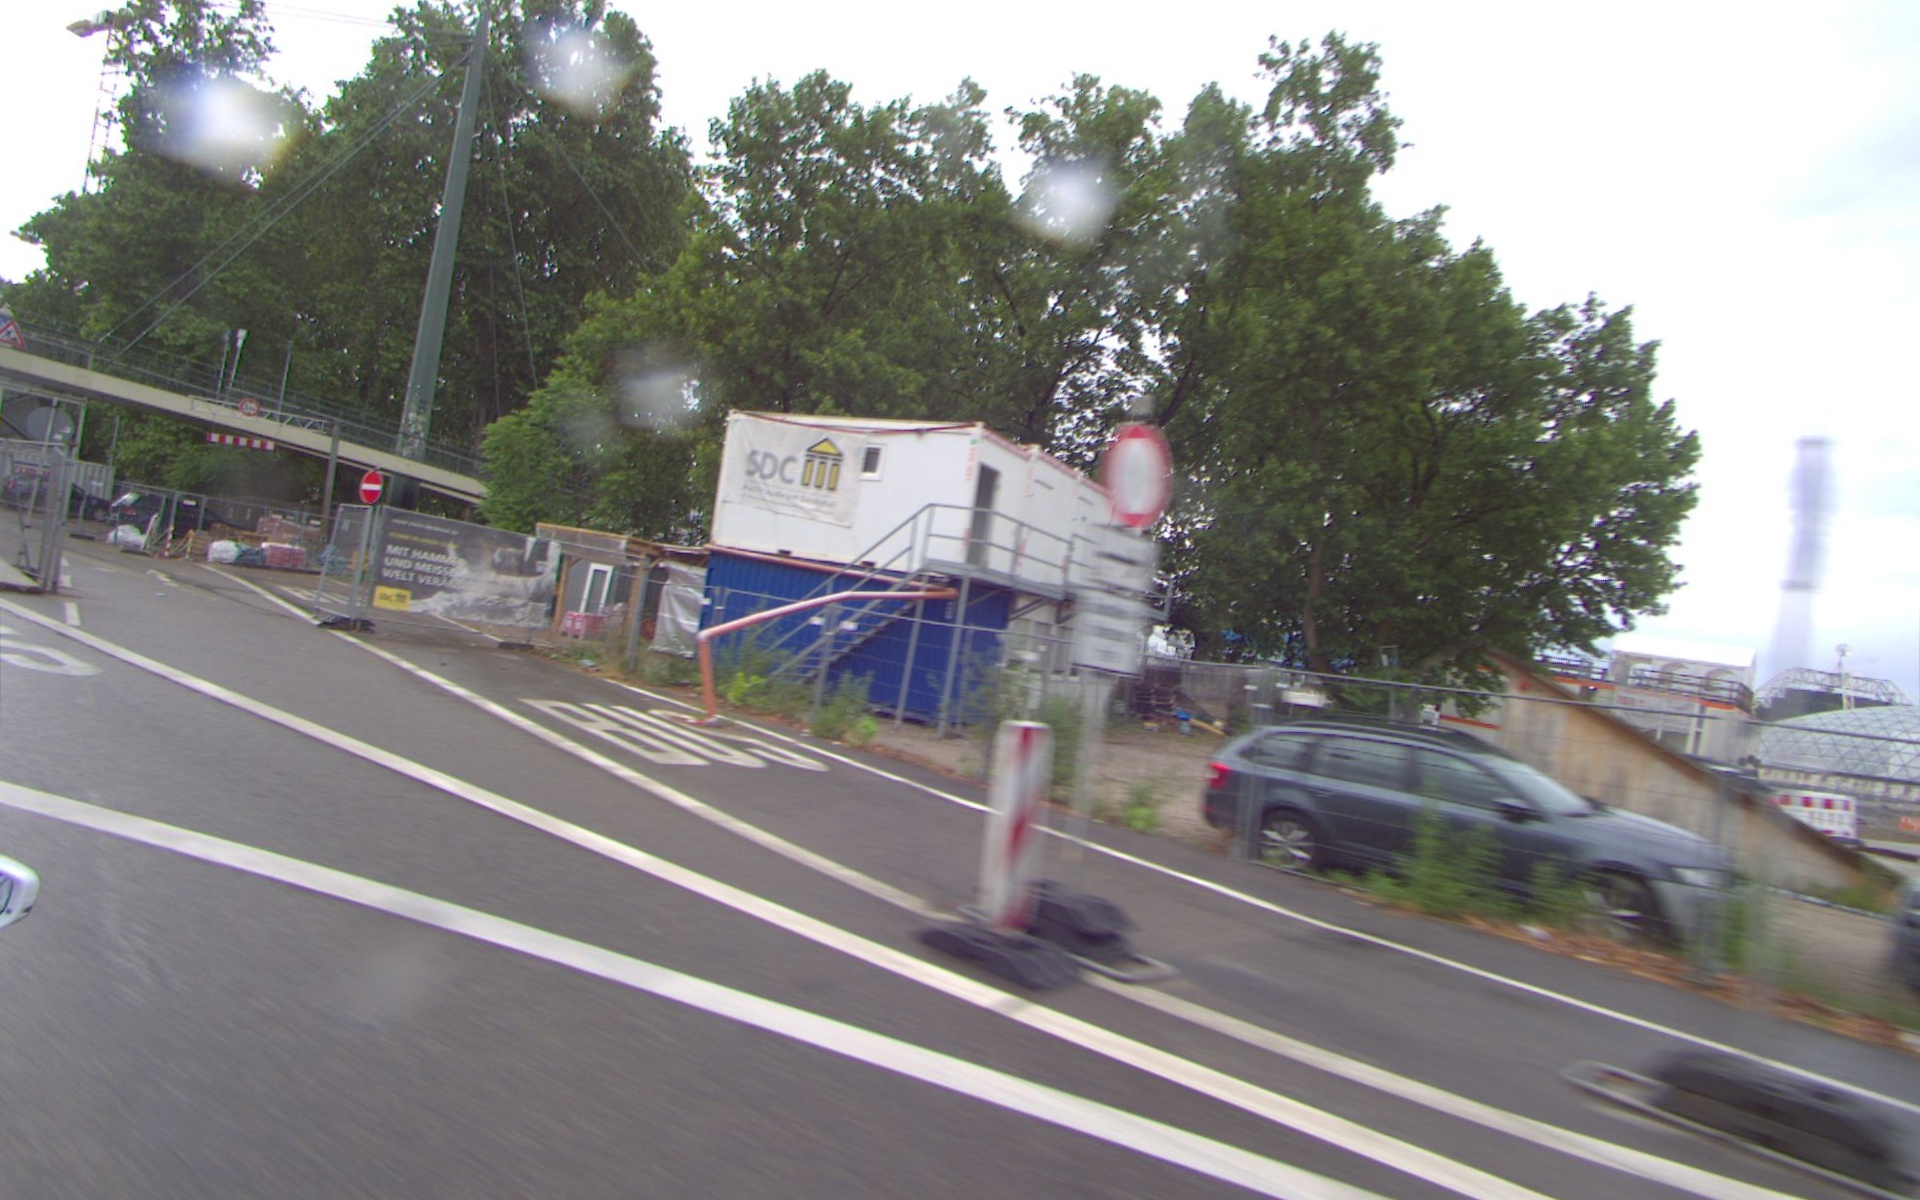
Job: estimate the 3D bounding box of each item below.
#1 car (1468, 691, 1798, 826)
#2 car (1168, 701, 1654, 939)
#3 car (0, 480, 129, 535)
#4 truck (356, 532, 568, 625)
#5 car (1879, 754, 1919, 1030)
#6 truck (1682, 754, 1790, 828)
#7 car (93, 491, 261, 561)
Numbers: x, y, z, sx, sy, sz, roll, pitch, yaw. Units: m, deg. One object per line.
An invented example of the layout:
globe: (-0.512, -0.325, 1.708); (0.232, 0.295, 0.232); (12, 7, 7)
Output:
car: (10.150, 2.369, 15.570); (3.929, 1.320, 1.717); (6, -3, 27)
car: (4.279, 1.975, 9.949); (3.930, 1.502, 1.855); (4, -1, 27)
car: (-41.424, -4.251, 46.231); (1.758, 1.647, 4.552); (10, -1, 31)
truck: (-14.760, -0.564, 30.185); (2.367, 2.037, 5.169); (7, -2, 27)
car: (8.616, 2.241, 6.055); (4.351, 1.672, 1.916); (6, 3, 41)
truck: (28.393, 6.999, 37.021); (2.371, 2.073, 5.565); (7, -5, 32)
car: (-29.665, -2.779, 38.278); (1.965, 1.748, 4.512); (8, -2, 28)
